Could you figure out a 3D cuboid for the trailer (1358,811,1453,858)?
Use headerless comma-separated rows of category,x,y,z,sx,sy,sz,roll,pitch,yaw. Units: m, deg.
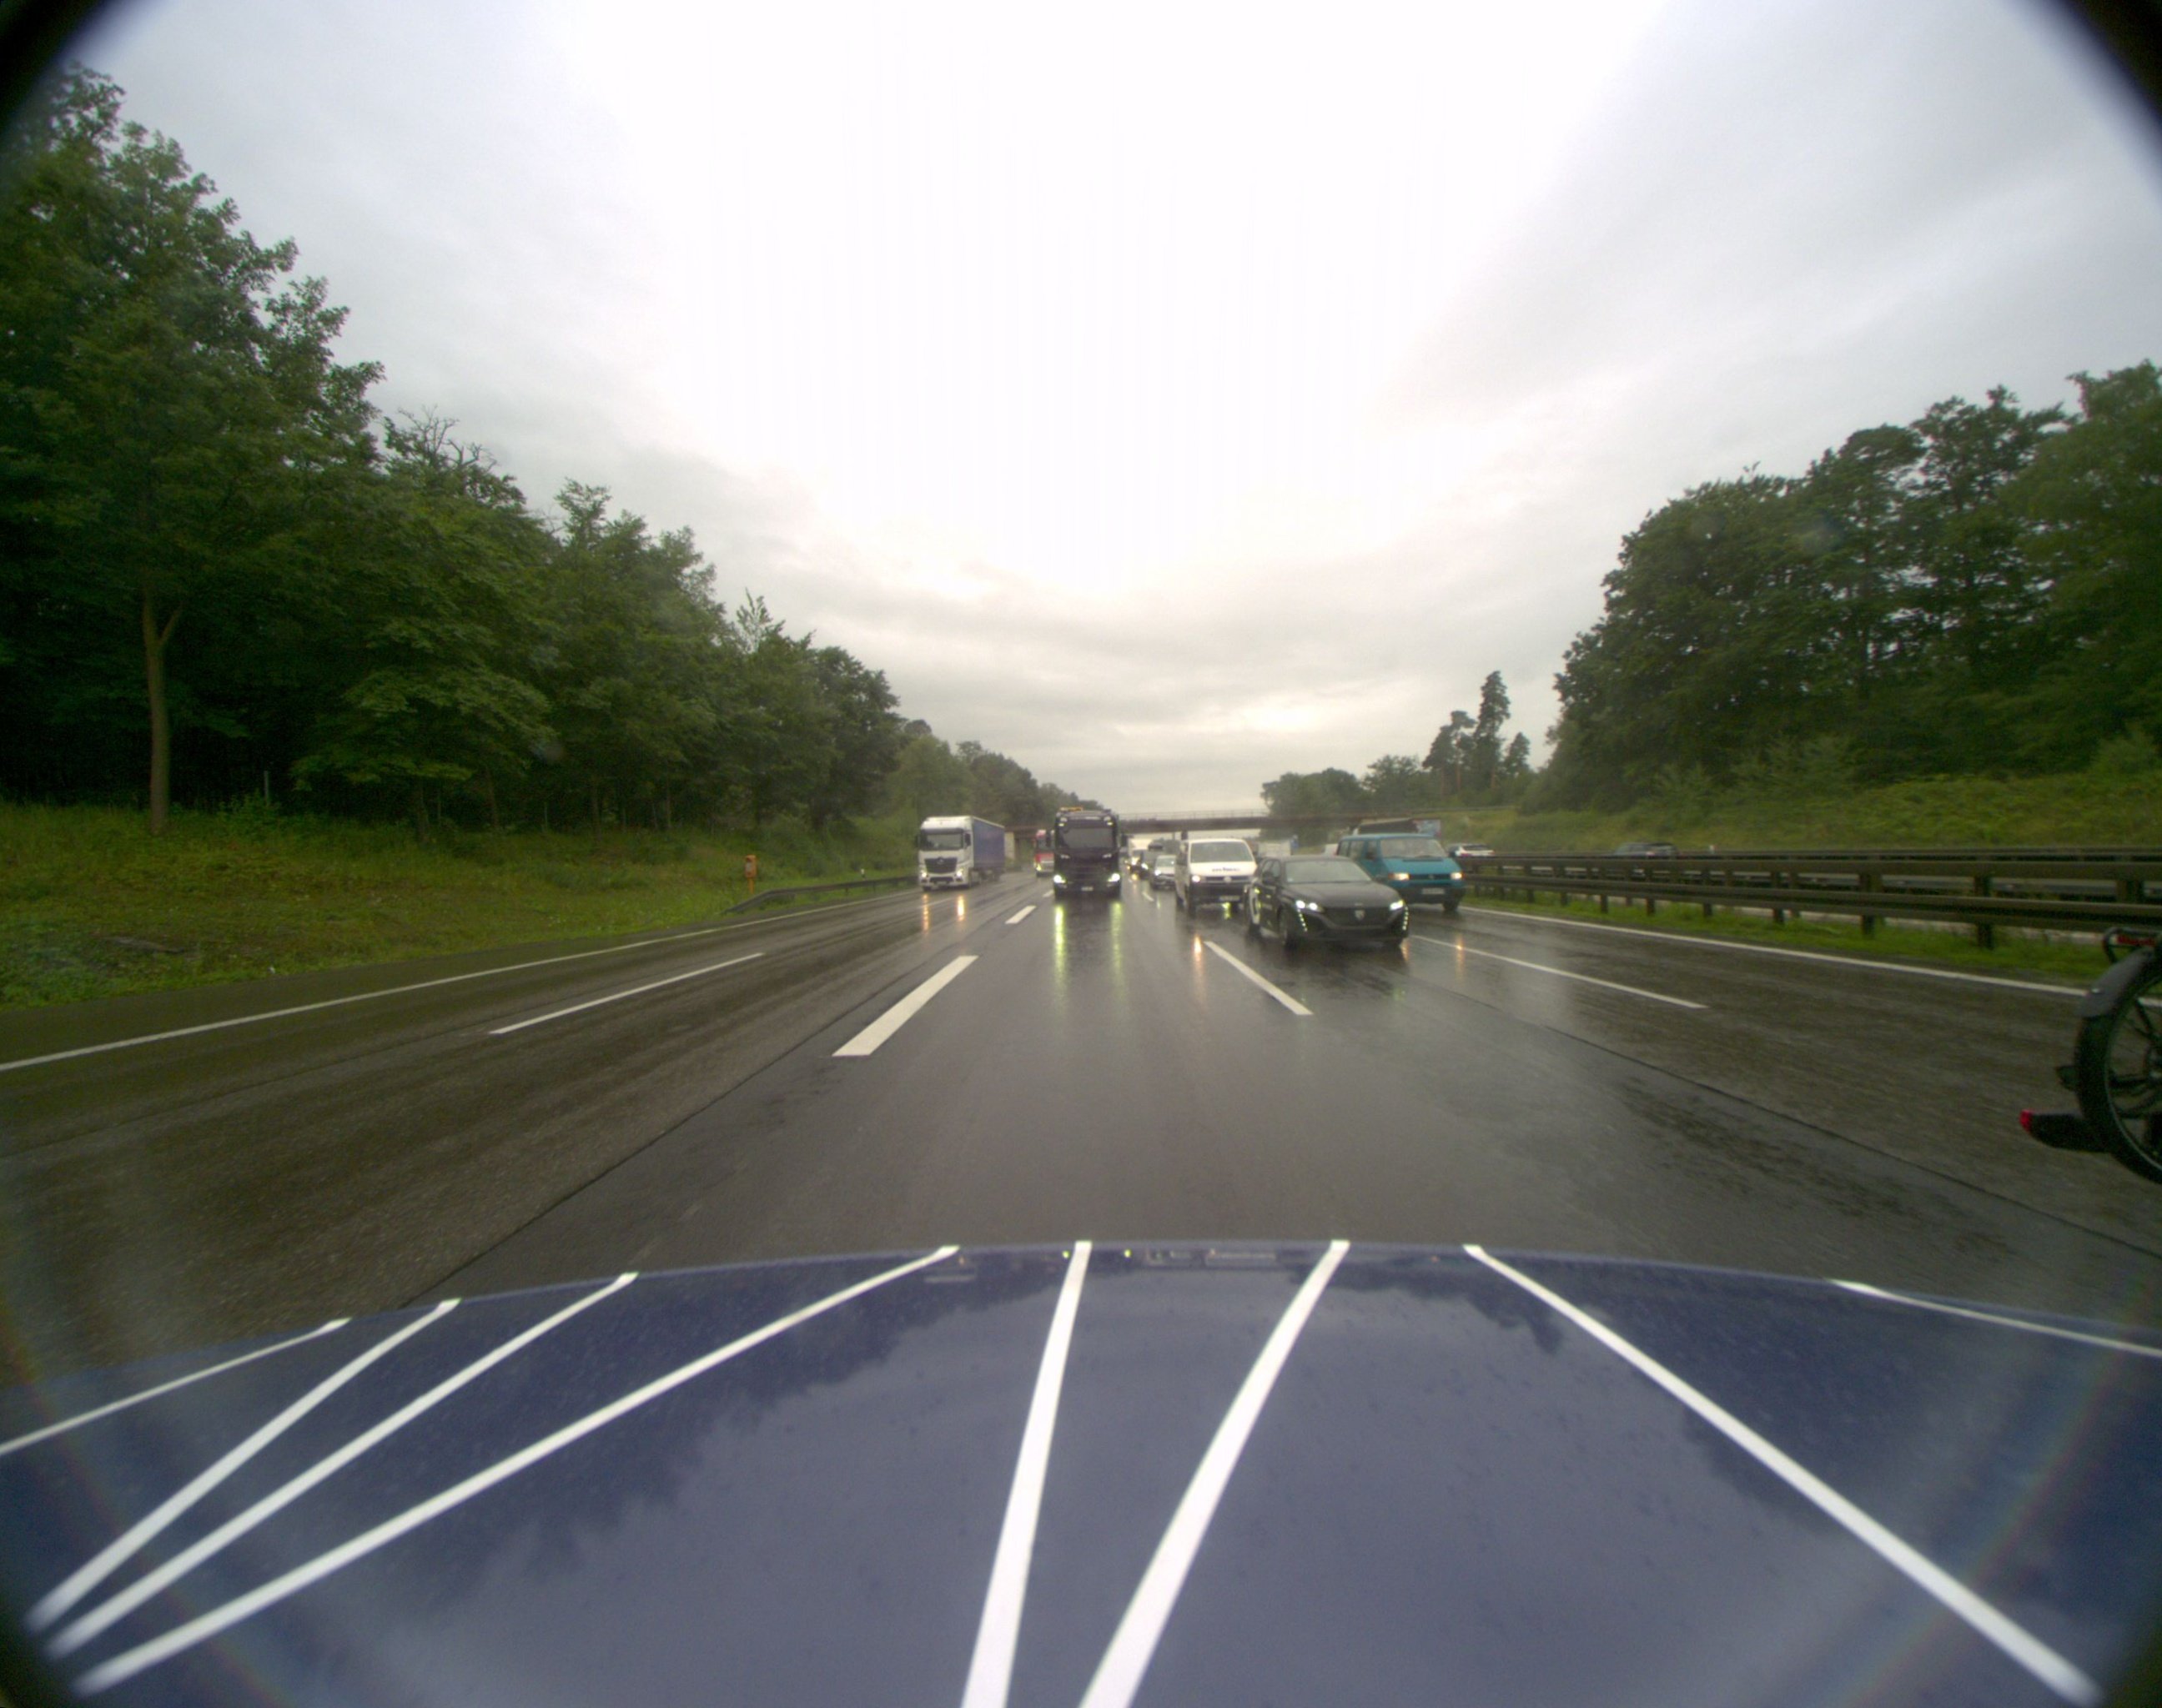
trailer,29.151,-1.617,69.314,3.032,3.795,13.560,-2,0,1

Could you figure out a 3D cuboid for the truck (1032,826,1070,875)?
truck,-2.505,-0.319,64.921,2.607,3.934,5.601,-2,1,3

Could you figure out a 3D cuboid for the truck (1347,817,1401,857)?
truck,29.274,-1.659,76.091,3.027,3.795,6.264,-2,0,1

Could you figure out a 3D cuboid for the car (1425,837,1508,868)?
car,20.125,-0.093,39.949,1.998,1.498,4.707,-1,0,0

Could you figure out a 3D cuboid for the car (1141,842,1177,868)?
car,5.025,0.050,49.505,1.994,1.551,4.768,-2,0,2

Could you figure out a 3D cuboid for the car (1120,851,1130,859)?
car,10.087,0.214,174.605,1.864,1.555,4.434,-2,2,1

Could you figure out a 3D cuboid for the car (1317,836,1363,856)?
car,20.846,-0.607,61.404,1.999,1.498,4.706,-1,0,-1

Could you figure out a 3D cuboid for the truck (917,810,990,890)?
truck,-7.008,-0.238,42.576,2.608,3.991,6.013,-3,1,2

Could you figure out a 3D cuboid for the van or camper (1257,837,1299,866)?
van or camper,17.378,-0.230,67.280,2.233,2.408,5.701,-2,0,1

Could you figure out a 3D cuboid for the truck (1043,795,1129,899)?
truck,0.499,-0.314,31.882,2.879,3.528,10.912,-2,1,3

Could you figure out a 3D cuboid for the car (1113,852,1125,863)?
car,7.015,0.643,141.020,1.998,2.002,4.000,-2,0,1

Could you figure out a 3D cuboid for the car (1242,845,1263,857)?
car,23.487,-0.412,104.171,1.840,1.489,4.332,-2,0,1

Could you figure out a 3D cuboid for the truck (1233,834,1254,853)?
truck,35.274,-2.306,165.643,2.710,3.909,10.028,-2,0,2

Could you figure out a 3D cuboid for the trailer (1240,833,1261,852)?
trailer,34.927,-2.275,156.620,2.689,3.795,9.007,-2,0,3

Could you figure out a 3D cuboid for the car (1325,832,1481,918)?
car,7.970,0.447,19.374,1.915,1.852,4.758,-2,1,0

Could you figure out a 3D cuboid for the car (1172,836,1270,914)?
car,3.720,0.514,21.016,1.994,1.869,4.768,-2,0,3

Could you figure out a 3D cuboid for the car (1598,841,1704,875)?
car,24.142,0.146,32.369,1.705,1.297,3.756,-2,0,1

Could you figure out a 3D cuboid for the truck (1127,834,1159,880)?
truck,5.630,0.245,69.692,2.520,3.941,6.995,-2,0,3

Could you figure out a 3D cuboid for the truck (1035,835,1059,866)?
truck,-4.576,-0.482,103.132,2.608,3.934,9.938,-2,1,0

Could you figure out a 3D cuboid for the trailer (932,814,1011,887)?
trailer,-6.745,-0.274,49.304,2.560,3.990,13.714,-2,0,2

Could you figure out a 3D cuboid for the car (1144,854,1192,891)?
car,3.869,0.775,34.559,1.850,1.496,4.467,-2,0,3

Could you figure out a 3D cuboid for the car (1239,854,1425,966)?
car,3.940,0.783,12.762,1.850,1.496,4.467,-1,0,3

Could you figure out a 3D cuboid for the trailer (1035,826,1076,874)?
trailer,-2.178,-0.410,71.738,2.607,3.934,14.582,-2,0,3
